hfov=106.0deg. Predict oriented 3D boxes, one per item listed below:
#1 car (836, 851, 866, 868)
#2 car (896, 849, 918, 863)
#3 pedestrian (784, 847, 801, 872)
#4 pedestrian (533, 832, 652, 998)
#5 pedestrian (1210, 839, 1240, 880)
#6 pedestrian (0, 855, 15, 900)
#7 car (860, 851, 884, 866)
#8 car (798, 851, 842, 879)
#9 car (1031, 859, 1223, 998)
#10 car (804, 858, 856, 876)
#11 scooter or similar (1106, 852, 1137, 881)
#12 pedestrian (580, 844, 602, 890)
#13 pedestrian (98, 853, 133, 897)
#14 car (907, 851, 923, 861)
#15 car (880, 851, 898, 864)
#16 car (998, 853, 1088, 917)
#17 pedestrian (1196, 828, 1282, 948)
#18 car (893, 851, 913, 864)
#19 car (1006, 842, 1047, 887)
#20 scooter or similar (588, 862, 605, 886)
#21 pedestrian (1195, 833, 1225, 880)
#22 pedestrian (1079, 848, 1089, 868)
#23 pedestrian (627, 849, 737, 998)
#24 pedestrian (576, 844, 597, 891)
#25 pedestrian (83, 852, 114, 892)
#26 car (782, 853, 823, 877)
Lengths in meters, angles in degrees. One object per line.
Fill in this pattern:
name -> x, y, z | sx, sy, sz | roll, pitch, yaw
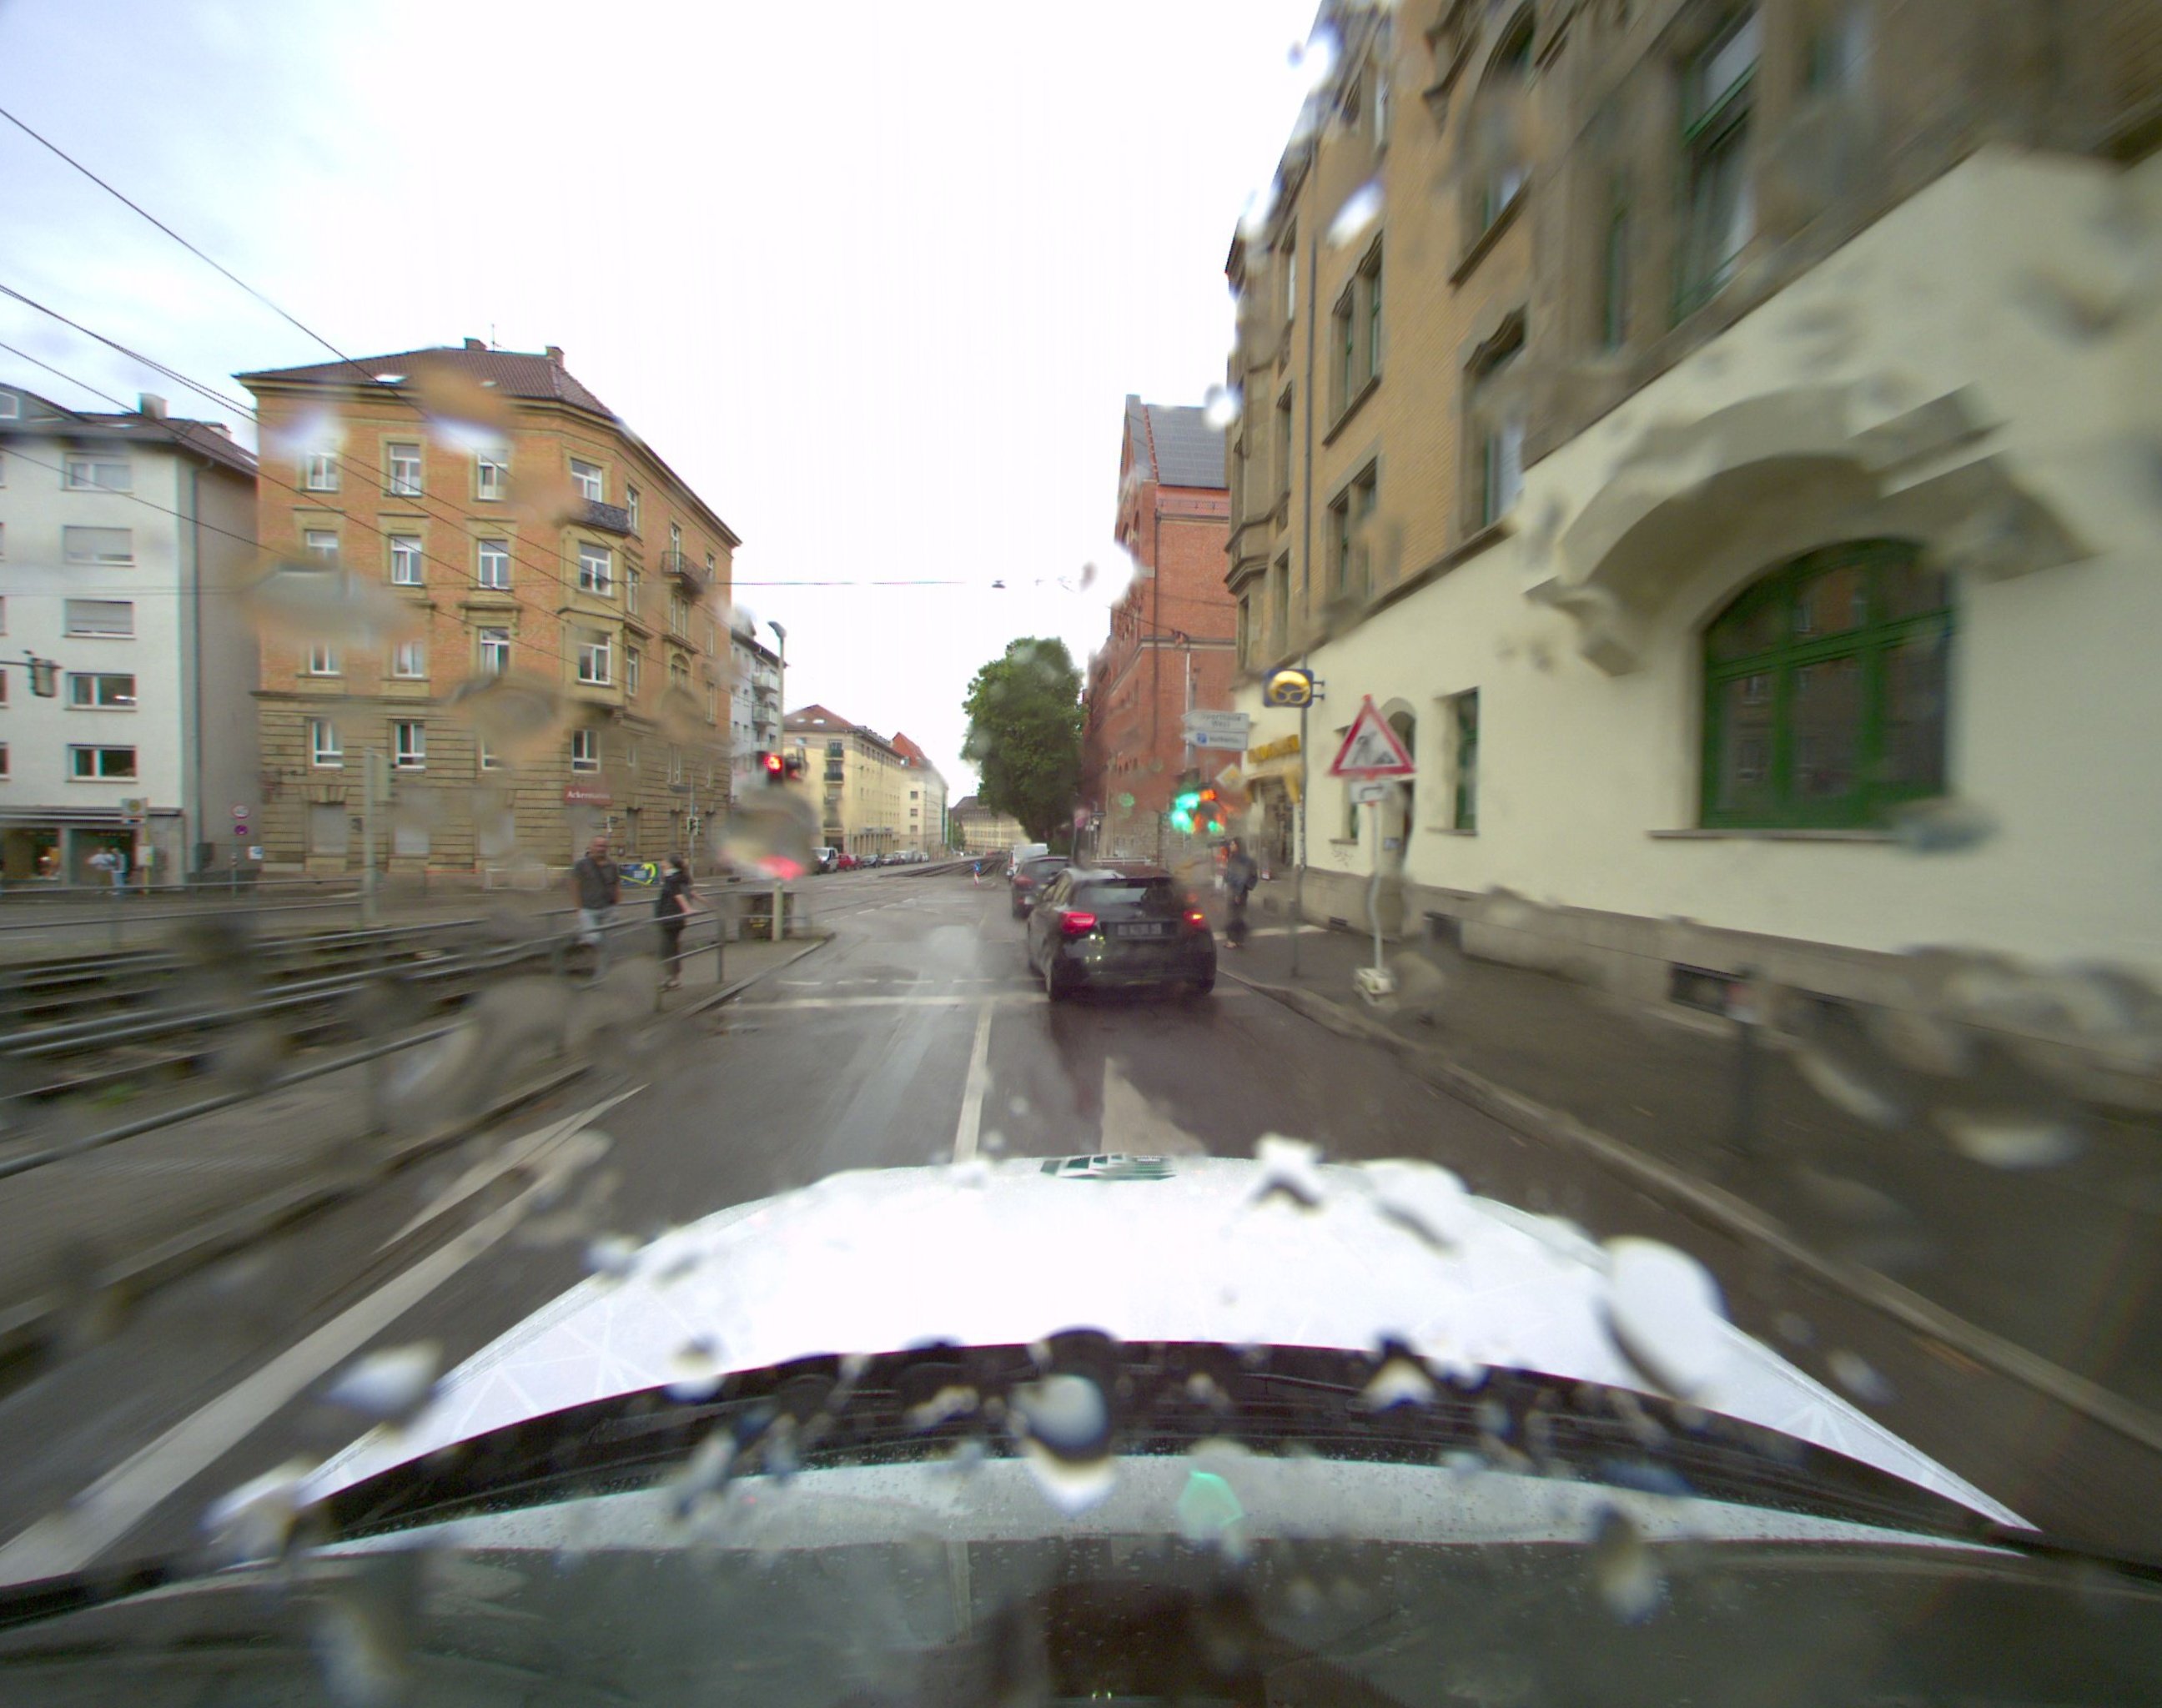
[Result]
car -> -20.948, 0.492, 74.227 | 1.649, 1.451, 4.070 | 0, 0, -2
car -> -24.281, 0.316, 114.032 | 1.988, 1.905, 5.457 | 1, 0, -1
pedestrian -> -22.981, 0.445, 64.909 | 1.172, 1.929, 1.173 | 0, 0, -12
pedestrian -> -5.577, 0.661, 9.367 | 0.824, 1.798, 0.999 | 0, 0, -7
pedestrian -> 6.015, 0.219, 33.973 | 0.956, 1.625, 1.071 | -2, 0, -5
pedestrian -> -40.979, 0.889, 30.635 | 0.828, 1.669, 0.667 | 0, 0, -1
car -> -21.352, 0.458, 83.270 | 1.677, 1.396, 4.612 | 0, 0, -6
car -> -20.242, 0.796, 63.429 | 2.066, 2.009, 5.293 | 3, 0, -5
car -> 0.355, 0.762, 10.172 | 1.791, 1.375, 3.992 | 1, 0, -6
car -> -20.935, 1.033, 68.126 | 1.763, 1.434, 4.006 | 0, 0, 29
scooter or similar -> 1.806, 0.540, 36.333 | 1.237, 1.250, 0.641 | -2, 0, 17
pedestrian -> -19.512, 0.488, 32.427 | 0.630, 1.766, 0.633 | -3, 4, -34
pedestrian -> -36.687, 0.782, 30.952 | 0.597, 1.668, 0.597 | 0, 0, 5
car -> -25.127, 0.308, 123.672 | 1.810, 1.499, 4.574 | 1, 0, -5
car -> -22.764, 0.410, 96.687 | 1.851, 1.508, 4.974 | 0, 0, -10
car -> -1.082, 0.732, 21.040 | 1.932, 1.453, 4.306 | 1, 0, -8
pedestrian -> 2.414, 0.498, 12.536 | 1.015, 1.720, 0.929 | -3, 0, -4
car -> -23.588, 0.426, 108.006 | 1.864, 1.717, 4.453 | 0, 0, -4
car -> -2.609, 0.469, 38.330 | 1.738, 2.014, 3.895 | 0, 0, -6
scooter or similar -> -19.780, 0.802, 33.226 | 0.558, 0.945, 0.572 | 0, 0, -35
pedestrian -> 5.367, 0.092, 33.854 | 0.956, 1.887, 1.071 | -2, 0, -5
pedestrian -> 0.233, 0.319, 69.522 | 0.821, 1.678, 0.859 | 0, 0, -2
pedestrian -> -4.532, 0.748, 9.333 | 0.834, 1.604, 0.999 | 0, 0, -7
pedestrian -> -19.664, 0.512, 32.412 | 0.630, 1.840, 0.633 | -1, 0, -37
pedestrian -> -37.572, 0.679, 31.146 | 0.529, 1.537, 0.498 | 0, 0, -1
car -> -19.575, 0.759, 57.395 | 1.730, 1.651, 4.356 | 0, 0, -5
